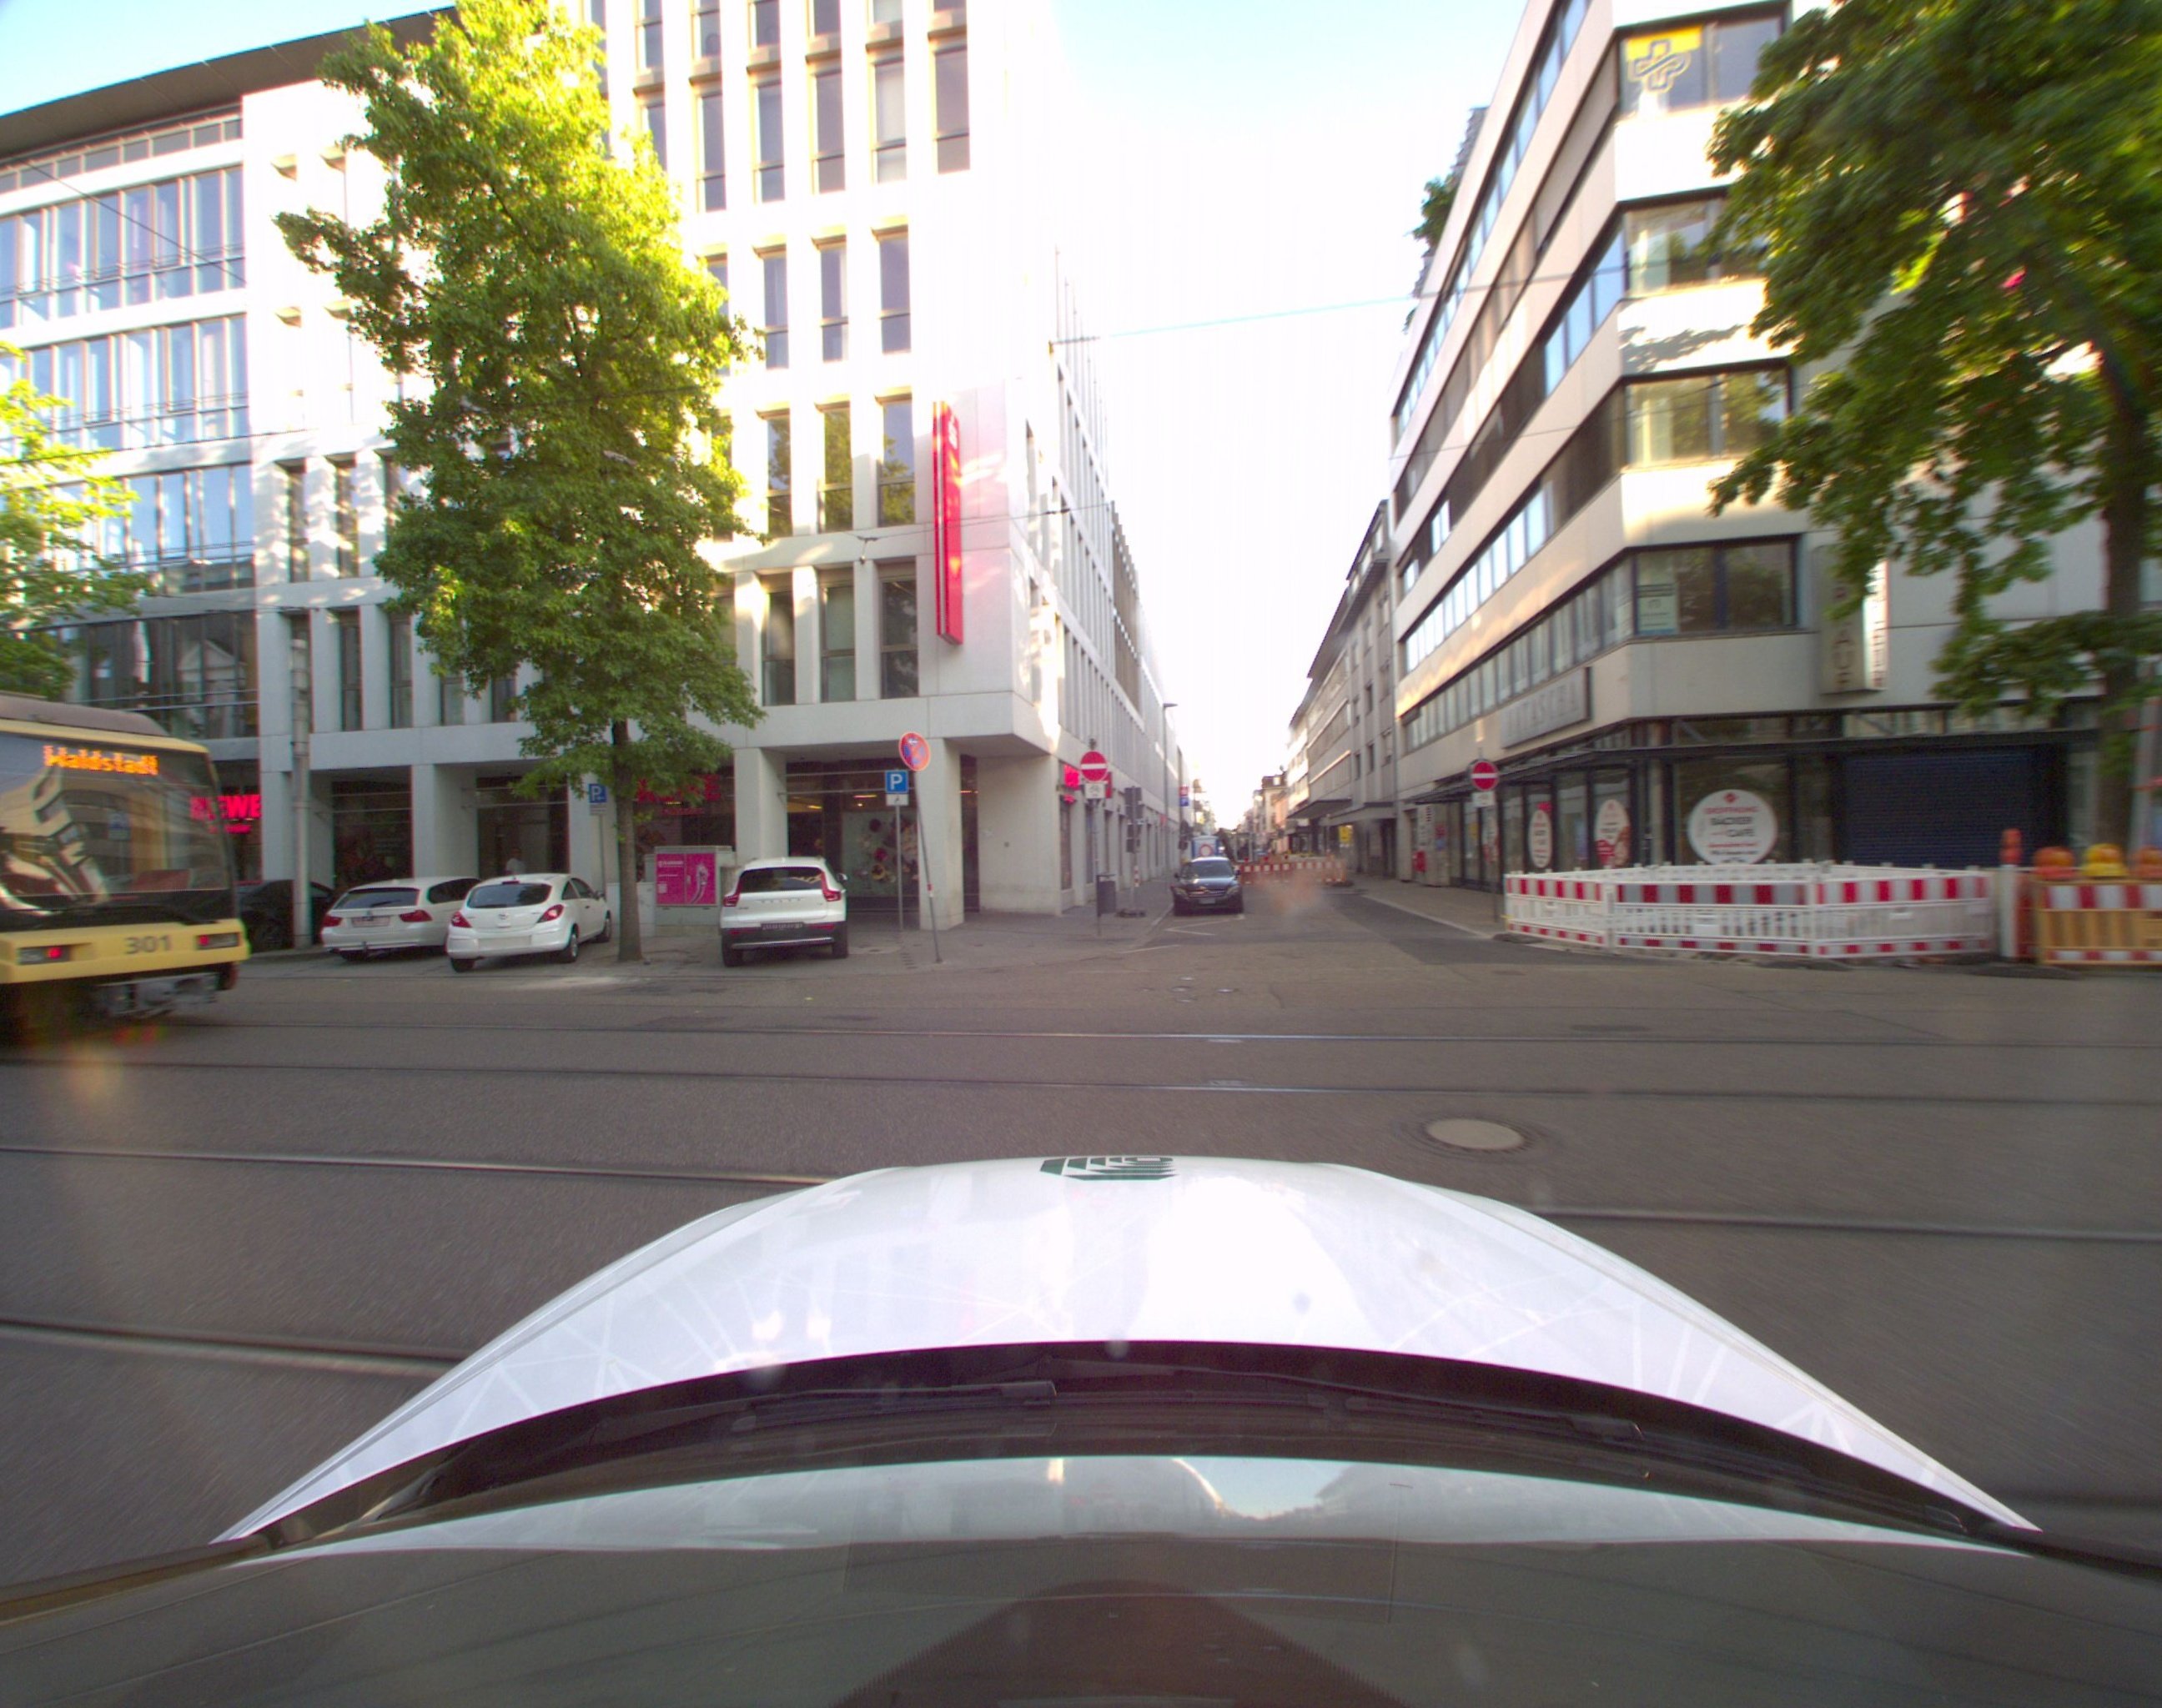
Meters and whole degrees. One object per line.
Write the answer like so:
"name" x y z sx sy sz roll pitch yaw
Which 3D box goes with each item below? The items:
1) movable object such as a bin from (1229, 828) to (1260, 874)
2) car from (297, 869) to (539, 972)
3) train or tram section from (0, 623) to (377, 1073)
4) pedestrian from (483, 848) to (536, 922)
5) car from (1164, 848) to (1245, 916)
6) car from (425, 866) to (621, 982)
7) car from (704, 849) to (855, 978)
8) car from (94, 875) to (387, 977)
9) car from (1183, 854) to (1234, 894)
"movable object such as a bin" 9.116 -0.161 45.259 1.425 2.493 1.766 -2 0 18
"car" -12.685 1.162 16.018 1.824 1.422 4.333 -2 2 -12
"train or tram section" -13.338 0.106 8.447 10.277 3.523 3.034 -2 0 8
"pedestrian" -13.993 0.756 19.942 0.797 1.771 0.685 0 -1 15
"car" 3.479 0.705 22.341 1.885 1.612 4.165 -2 -1 12
"car" -9.688 1.091 14.535 1.796 1.501 4.042 -3 3 -19
"car" -5.029 0.852 14.169 1.949 1.671 4.252 -3 2 -15
"car" -16.655 1.315 16.548 1.950 1.422 4.333 -3 3 -12
"car" 5.237 0.768 33.119 1.762 1.475 4.165 -2 -1 12
